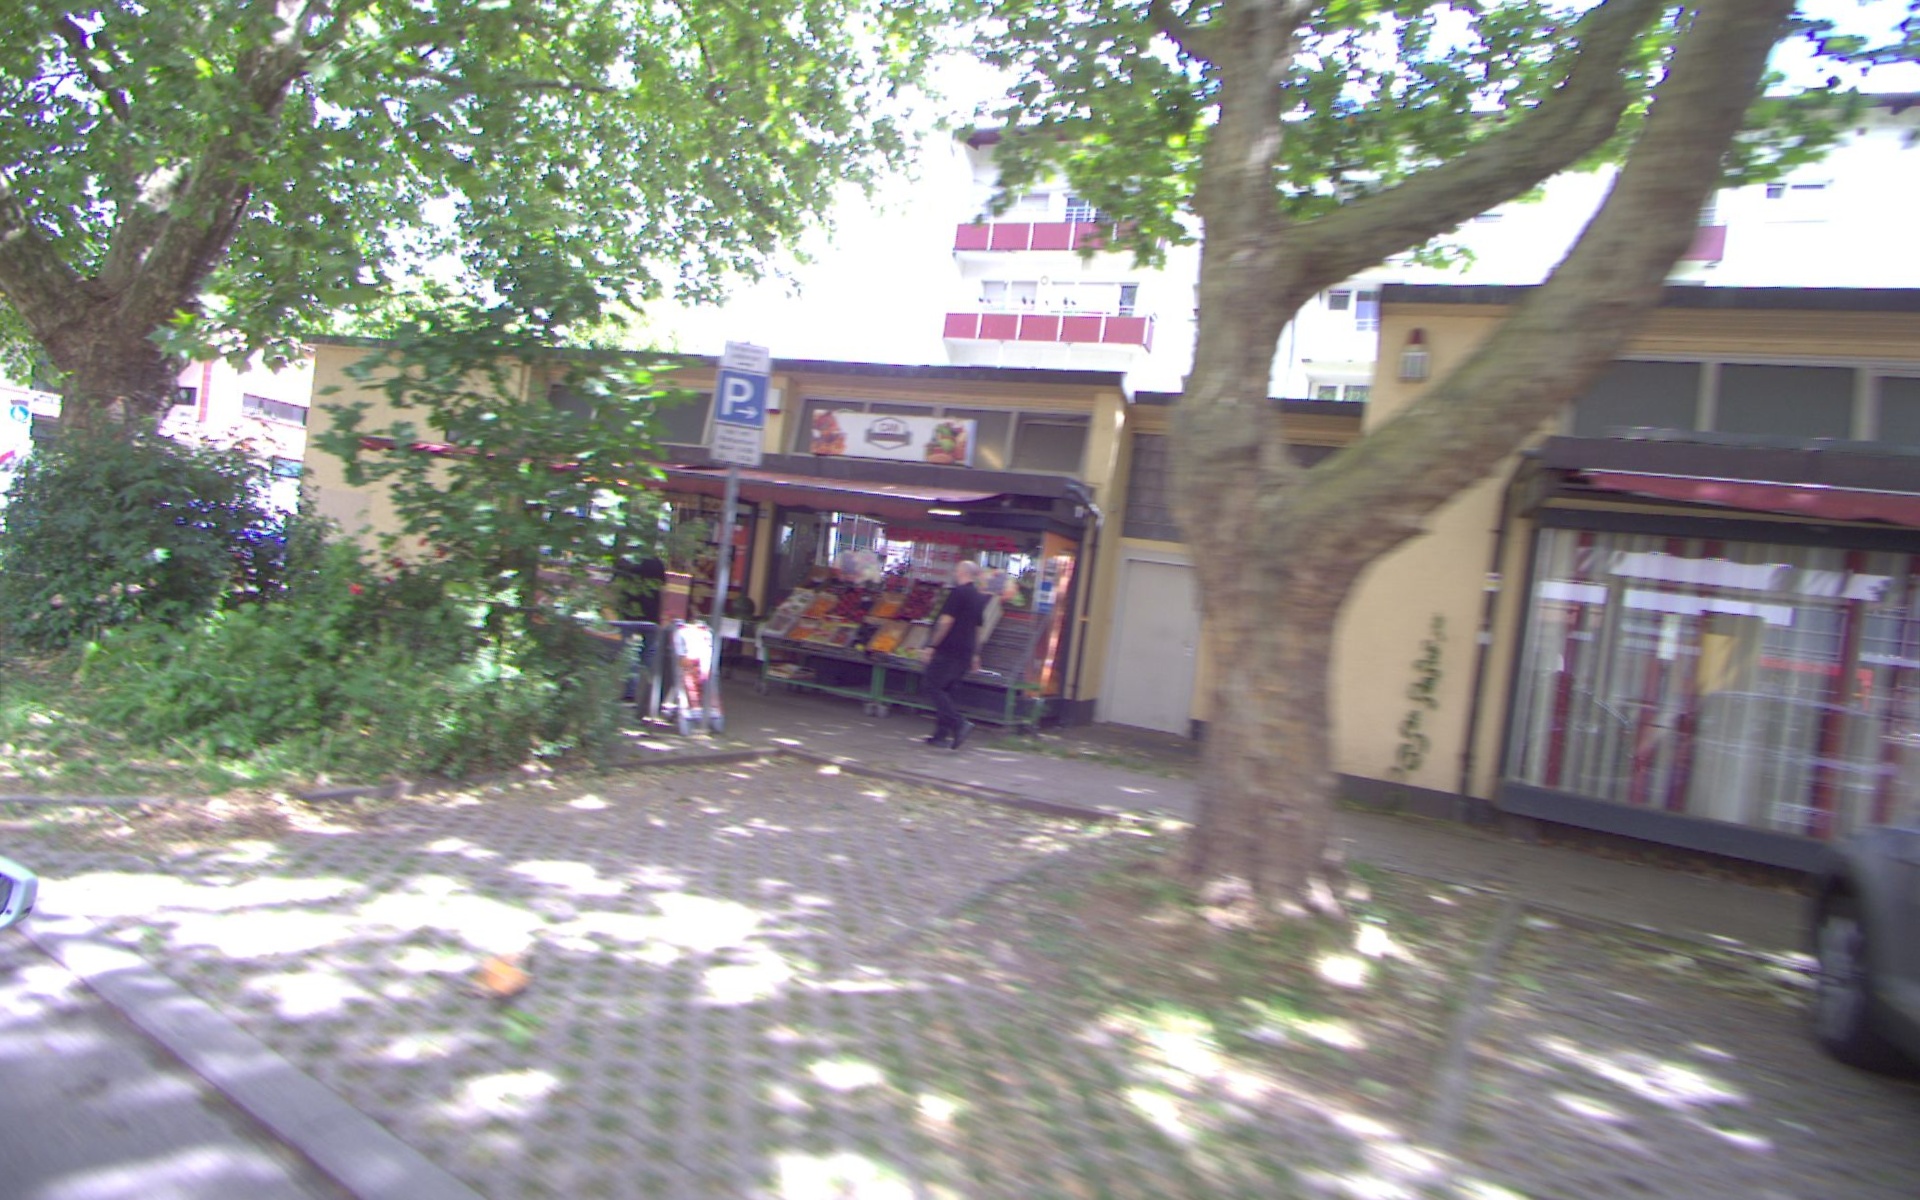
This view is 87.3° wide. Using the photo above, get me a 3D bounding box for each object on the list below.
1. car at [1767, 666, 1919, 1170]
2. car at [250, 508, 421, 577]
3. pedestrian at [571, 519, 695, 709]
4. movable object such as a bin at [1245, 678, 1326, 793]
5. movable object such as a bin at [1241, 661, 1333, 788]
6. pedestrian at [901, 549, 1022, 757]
[{"bbox_3d":[3.692,1.091,2.499,1.591,1.582,3.837,7,1,25],"label":"car"},{"bbox_3d":[-19.800,-1.780,32.123,1.859,1.624,4.241,7,0,24],"label":"car"},{"bbox_3d":[-3.122,0.136,9.603,0.759,1.697,0.624,7,1,32],"label":"pedestrian"},{"bbox_3d":[2.971,1.222,9.171,0.577,0.926,0.438,7,2,22],"label":"movable object such as a bin"},{"bbox_3d":[3.153,1.179,9.679,0.696,1.082,0.520,7,2,21],"label":"movable object such as a bin"},{"bbox_3d":[0.024,0.469,9.123,0.647,1.747,0.760,7,2,27],"label":"pedestrian"}]
